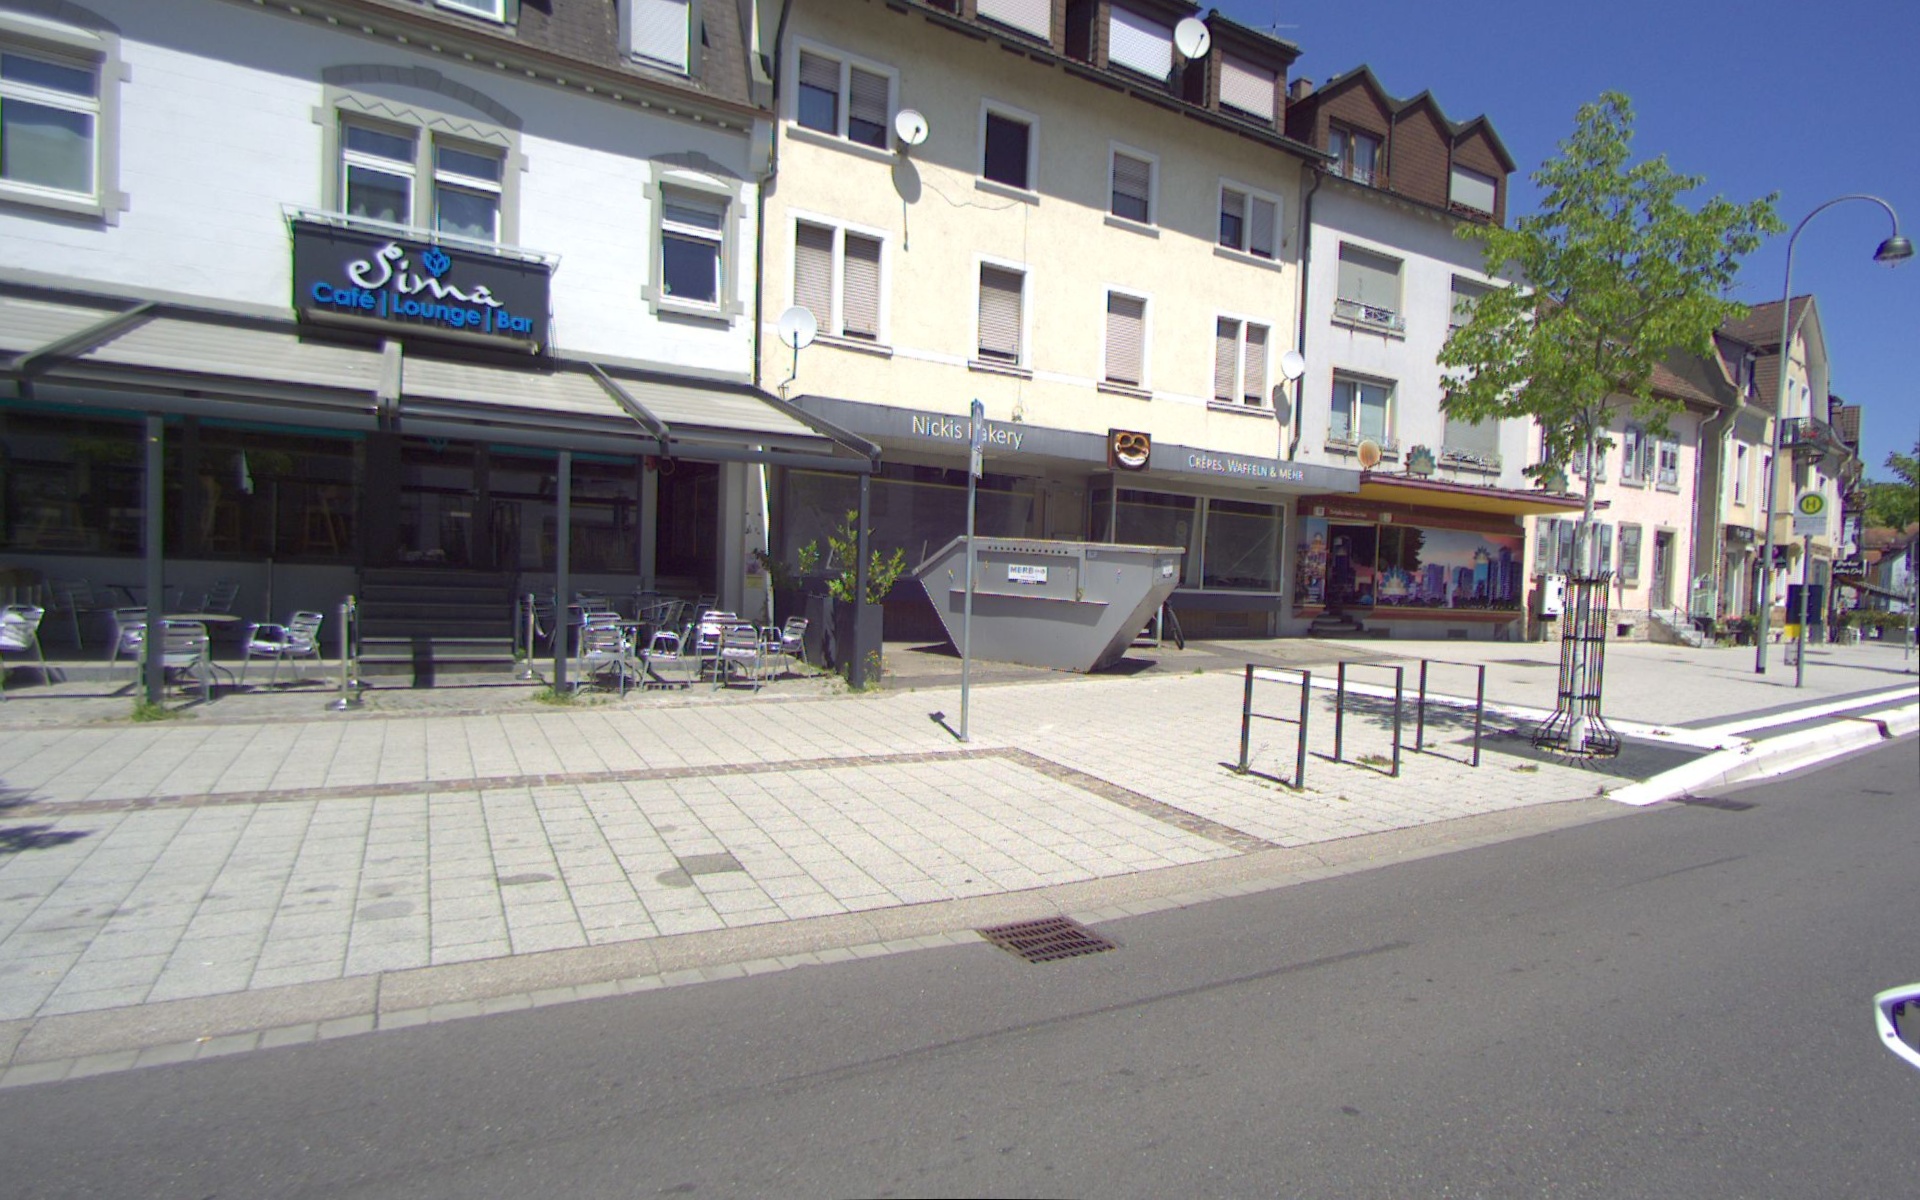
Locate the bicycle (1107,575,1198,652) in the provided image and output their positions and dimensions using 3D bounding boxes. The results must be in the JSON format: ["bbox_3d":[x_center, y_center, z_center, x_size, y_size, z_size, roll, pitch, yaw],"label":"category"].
[{"bbox_3d":[3.558,0.229,18.702,0.609,1.251,1.757,1,4,-29],"label":"bicycle"}]
